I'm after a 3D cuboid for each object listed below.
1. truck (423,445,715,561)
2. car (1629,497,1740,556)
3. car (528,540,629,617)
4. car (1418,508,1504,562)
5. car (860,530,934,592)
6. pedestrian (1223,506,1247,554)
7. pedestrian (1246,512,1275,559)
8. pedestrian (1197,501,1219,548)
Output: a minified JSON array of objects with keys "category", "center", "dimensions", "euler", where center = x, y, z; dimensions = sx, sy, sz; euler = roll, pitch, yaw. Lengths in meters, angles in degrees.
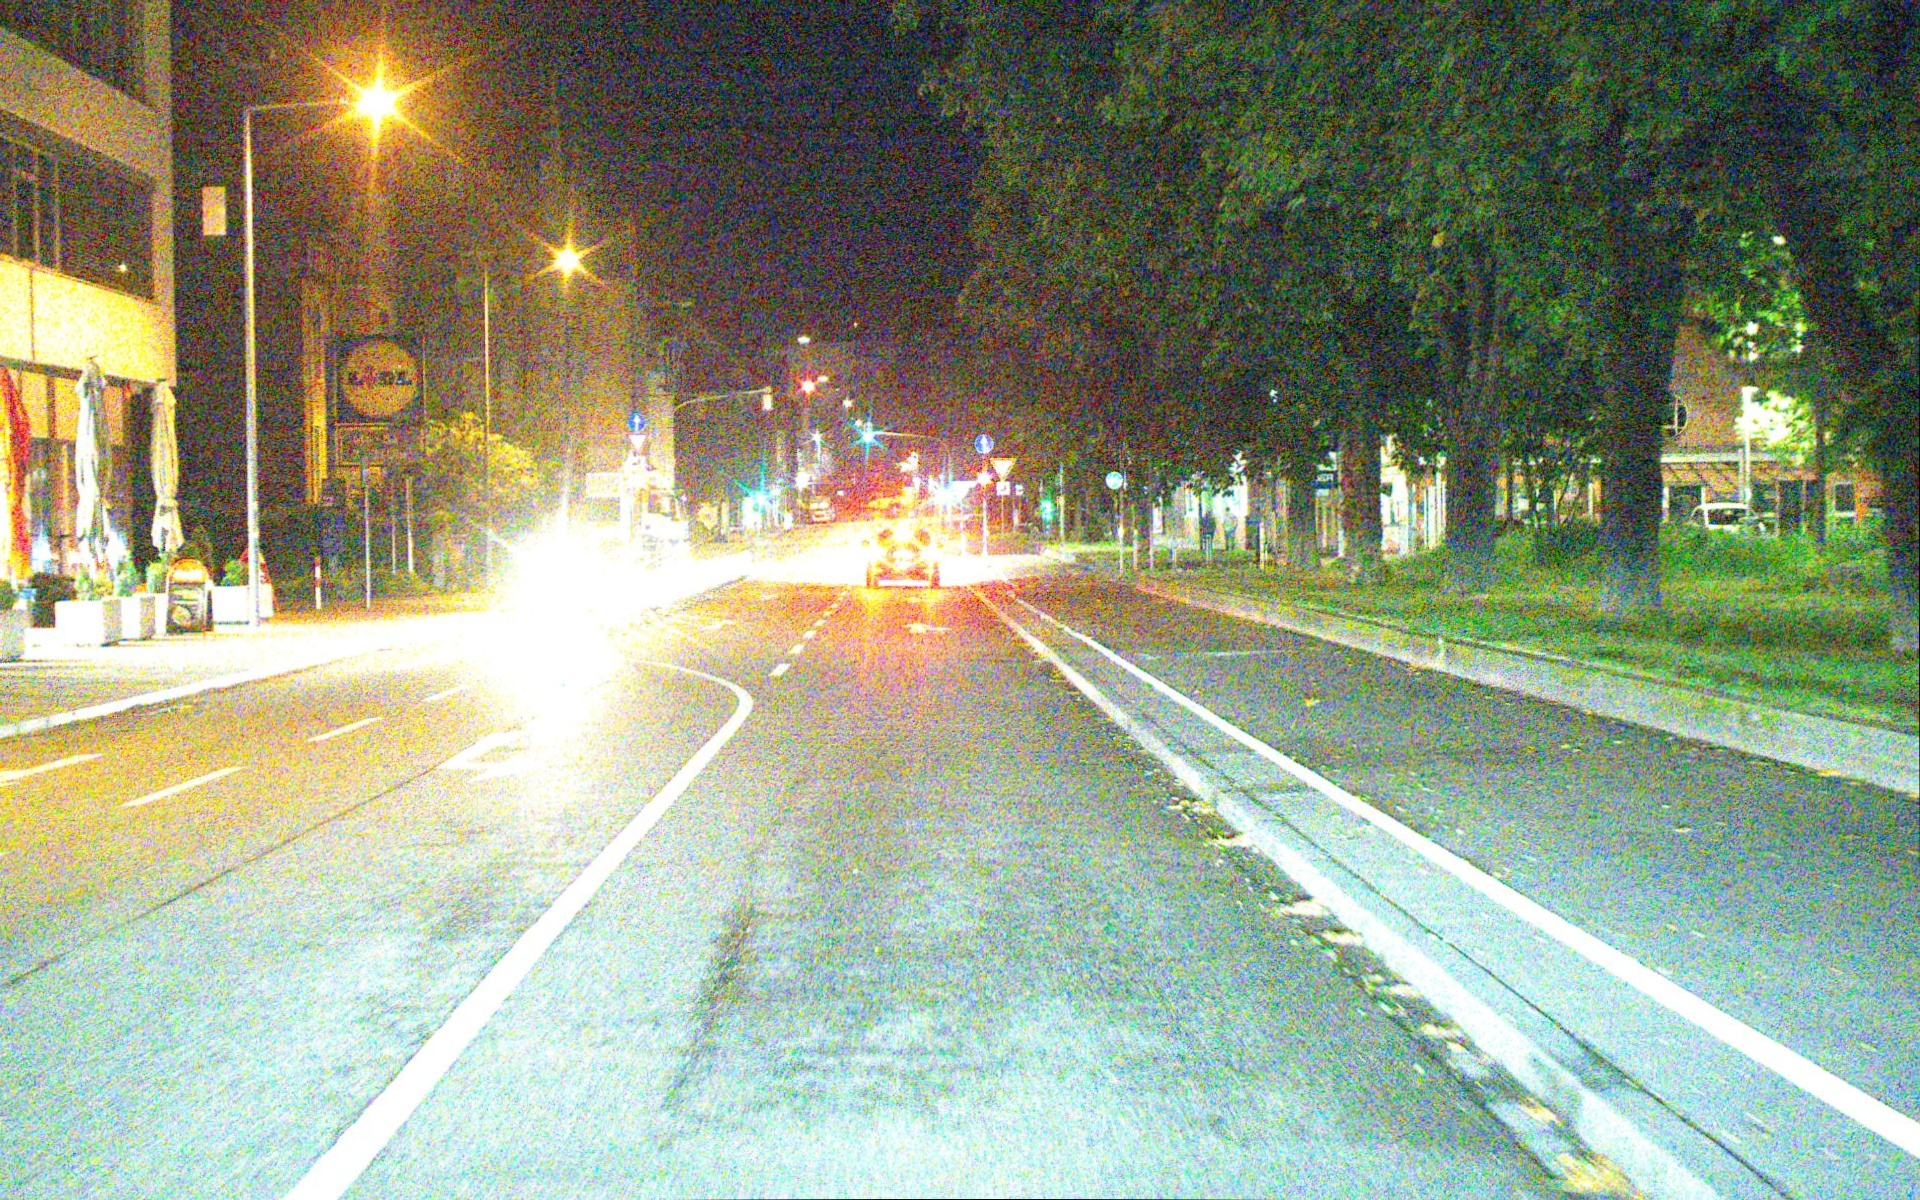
[{"category":"truck","center":[-13.860,-3.444,122.054],"dimensions":[10.077,3.705,2.765],"euler":[-2,1,-7]},{"category":"car","center":[19.547,-1.981,92.926],"dimensions":[1.781,1.528,4.001],"euler":[-1,1,-6]},{"category":"car","center":[-7.634,-0.462,69.107],"dimensions":[1.667,1.423,4.001],"euler":[-3,1,-2]},{"category":"car","center":[13.369,-1.749,91.931],"dimensions":[1.512,1.390,4.482],"euler":[-1,1,-2]},{"category":"car","center":[-1.562,-1.011,86.638],"dimensions":[1.805,1.489,4.730],"euler":[1,1,0]},{"category":"pedestrian","center":[10.361,-2.633,129.563],"dimensions":[0.738,1.763,0.907],"euler":[-2,1,-1]},{"category":"pedestrian","center":[11.339,-2.430,129.692],"dimensions":[0.900,1.763,0.907],"euler":[-2,1,-7]},{"category":"pedestrian","center":[9.344,-2.847,129.454],"dimensions":[0.714,1.763,0.907],"euler":[-2,1,-1]}]
